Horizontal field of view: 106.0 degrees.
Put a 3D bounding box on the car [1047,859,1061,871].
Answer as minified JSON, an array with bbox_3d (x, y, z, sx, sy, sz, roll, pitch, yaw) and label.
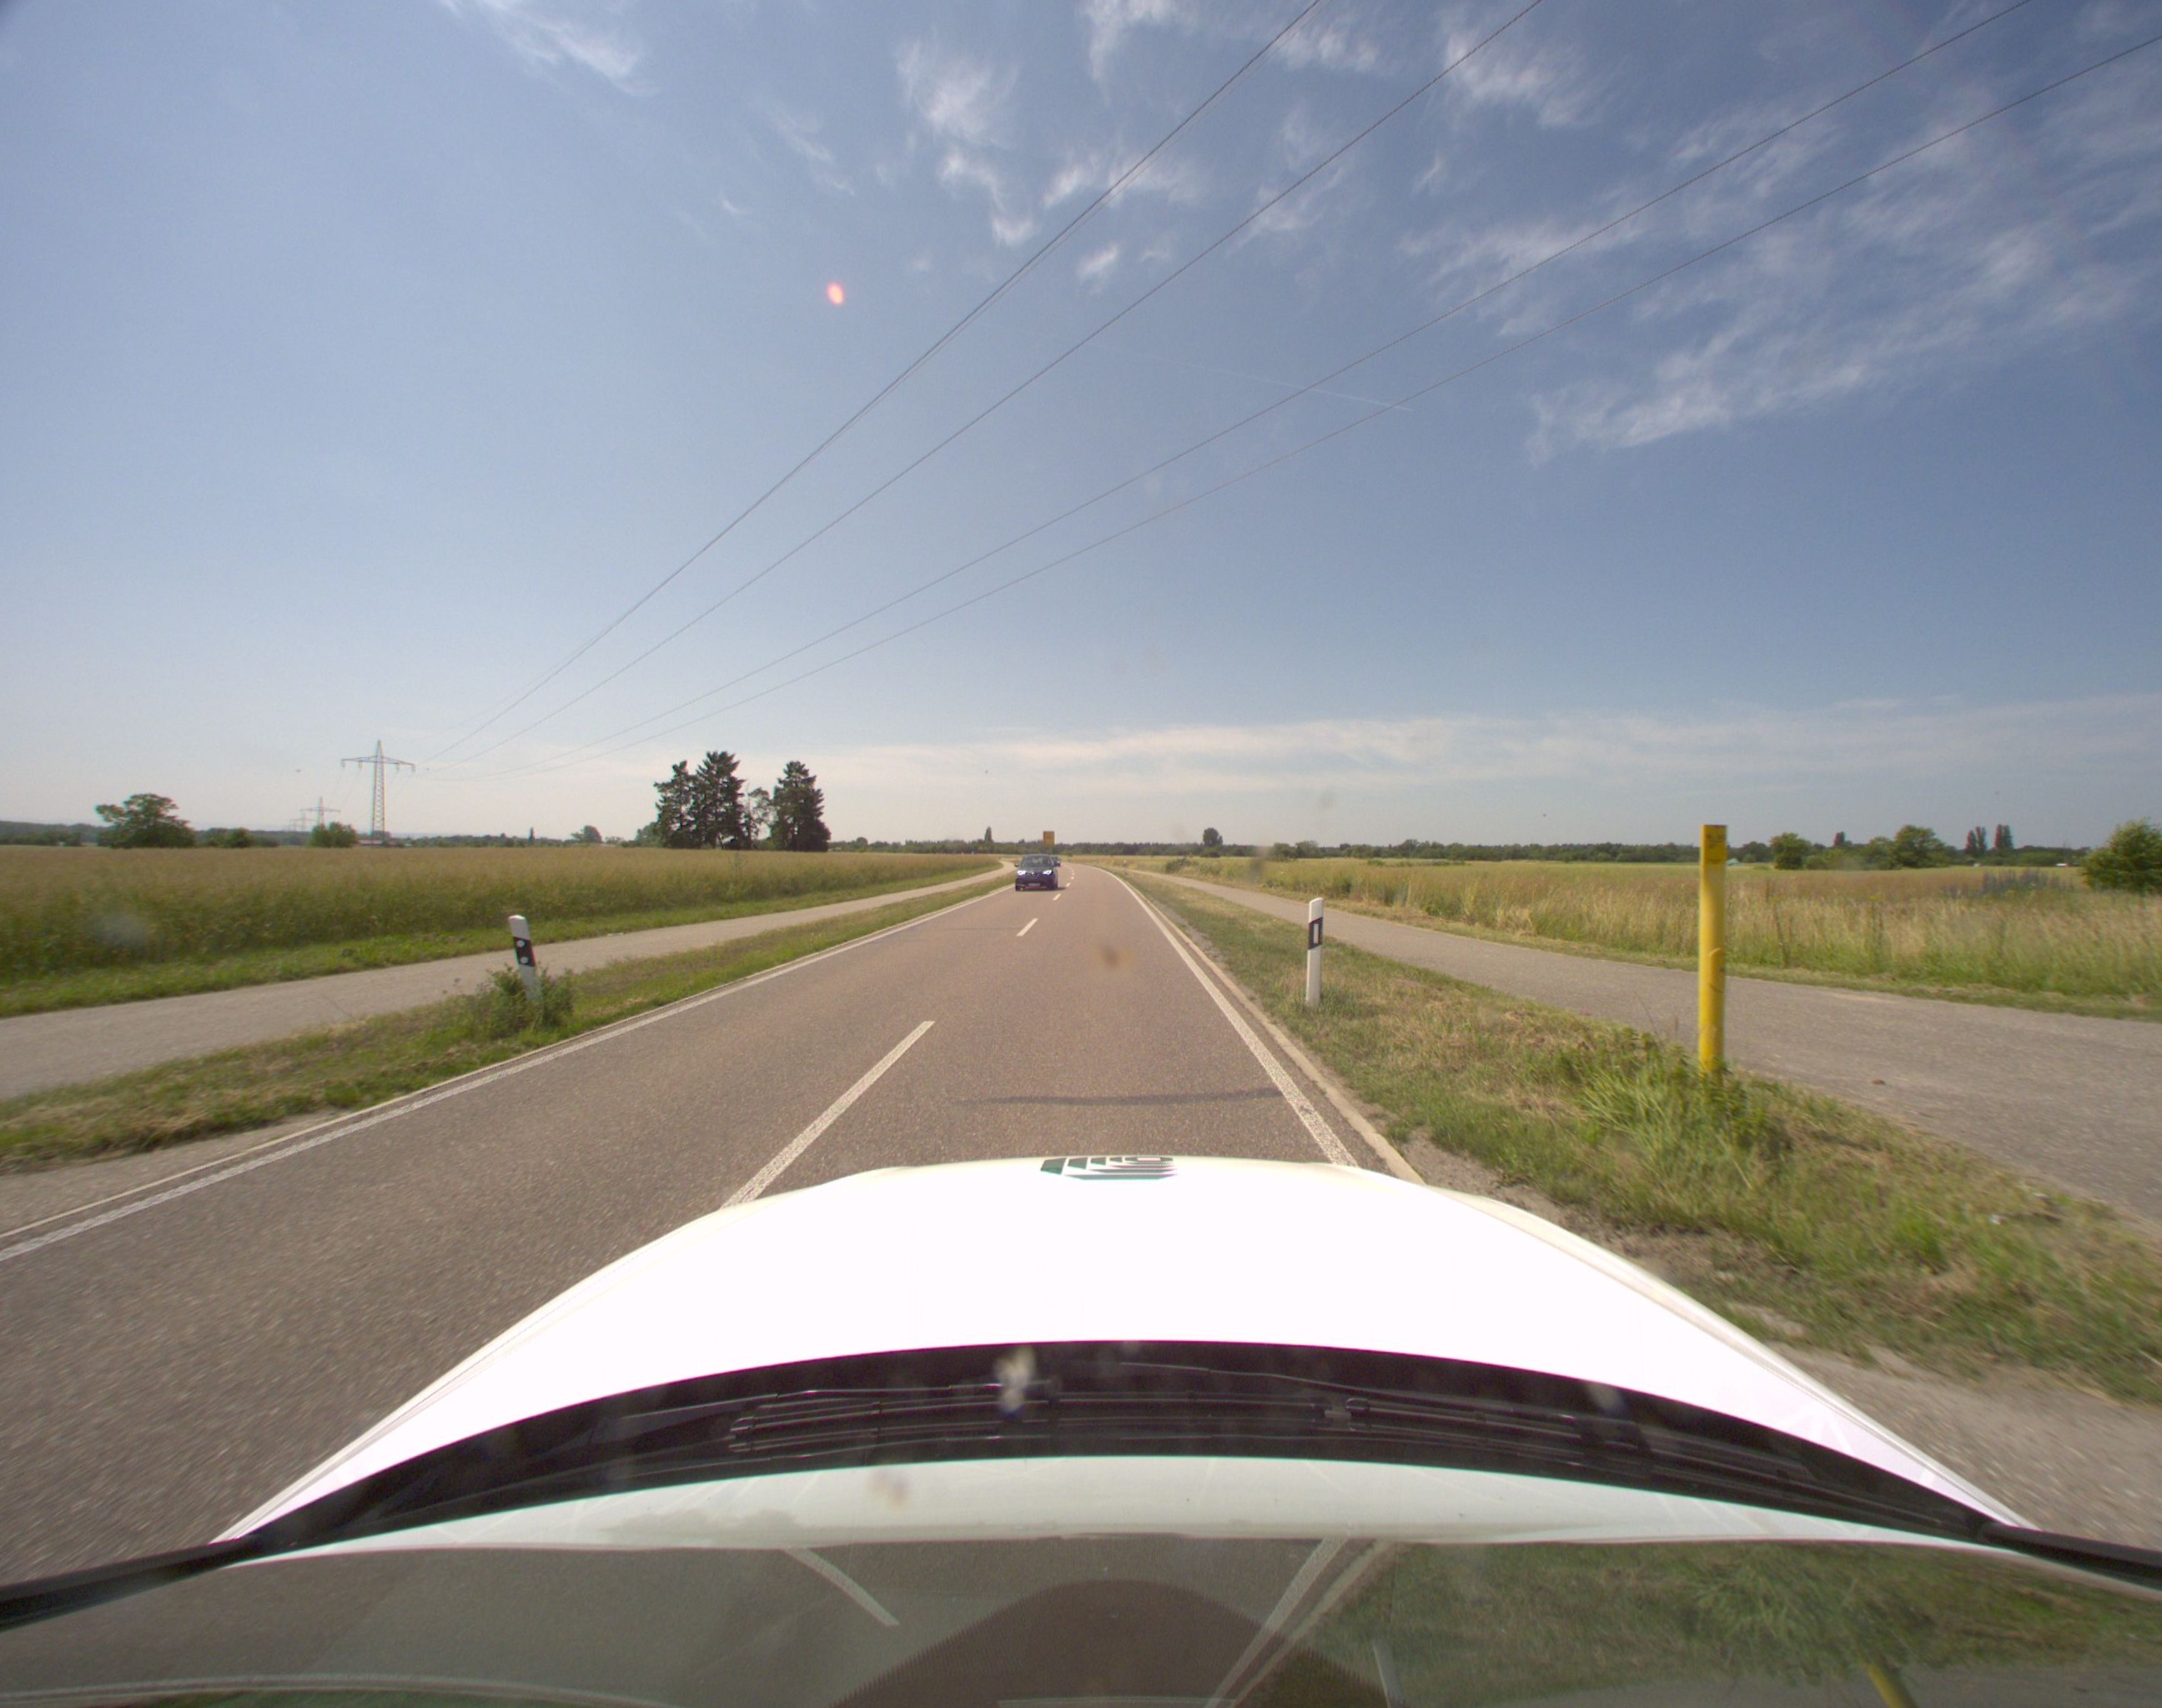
[{"bbox_3d":[-3.568,1.416,105.647,1.708,1.586,3.497,-1,-1,-4],"label":"car"}]

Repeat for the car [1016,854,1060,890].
[{"bbox_3d":[-1.862,0.775,36.248,1.617,1.491,4.001,-1,-1,2],"label":"car"}]
